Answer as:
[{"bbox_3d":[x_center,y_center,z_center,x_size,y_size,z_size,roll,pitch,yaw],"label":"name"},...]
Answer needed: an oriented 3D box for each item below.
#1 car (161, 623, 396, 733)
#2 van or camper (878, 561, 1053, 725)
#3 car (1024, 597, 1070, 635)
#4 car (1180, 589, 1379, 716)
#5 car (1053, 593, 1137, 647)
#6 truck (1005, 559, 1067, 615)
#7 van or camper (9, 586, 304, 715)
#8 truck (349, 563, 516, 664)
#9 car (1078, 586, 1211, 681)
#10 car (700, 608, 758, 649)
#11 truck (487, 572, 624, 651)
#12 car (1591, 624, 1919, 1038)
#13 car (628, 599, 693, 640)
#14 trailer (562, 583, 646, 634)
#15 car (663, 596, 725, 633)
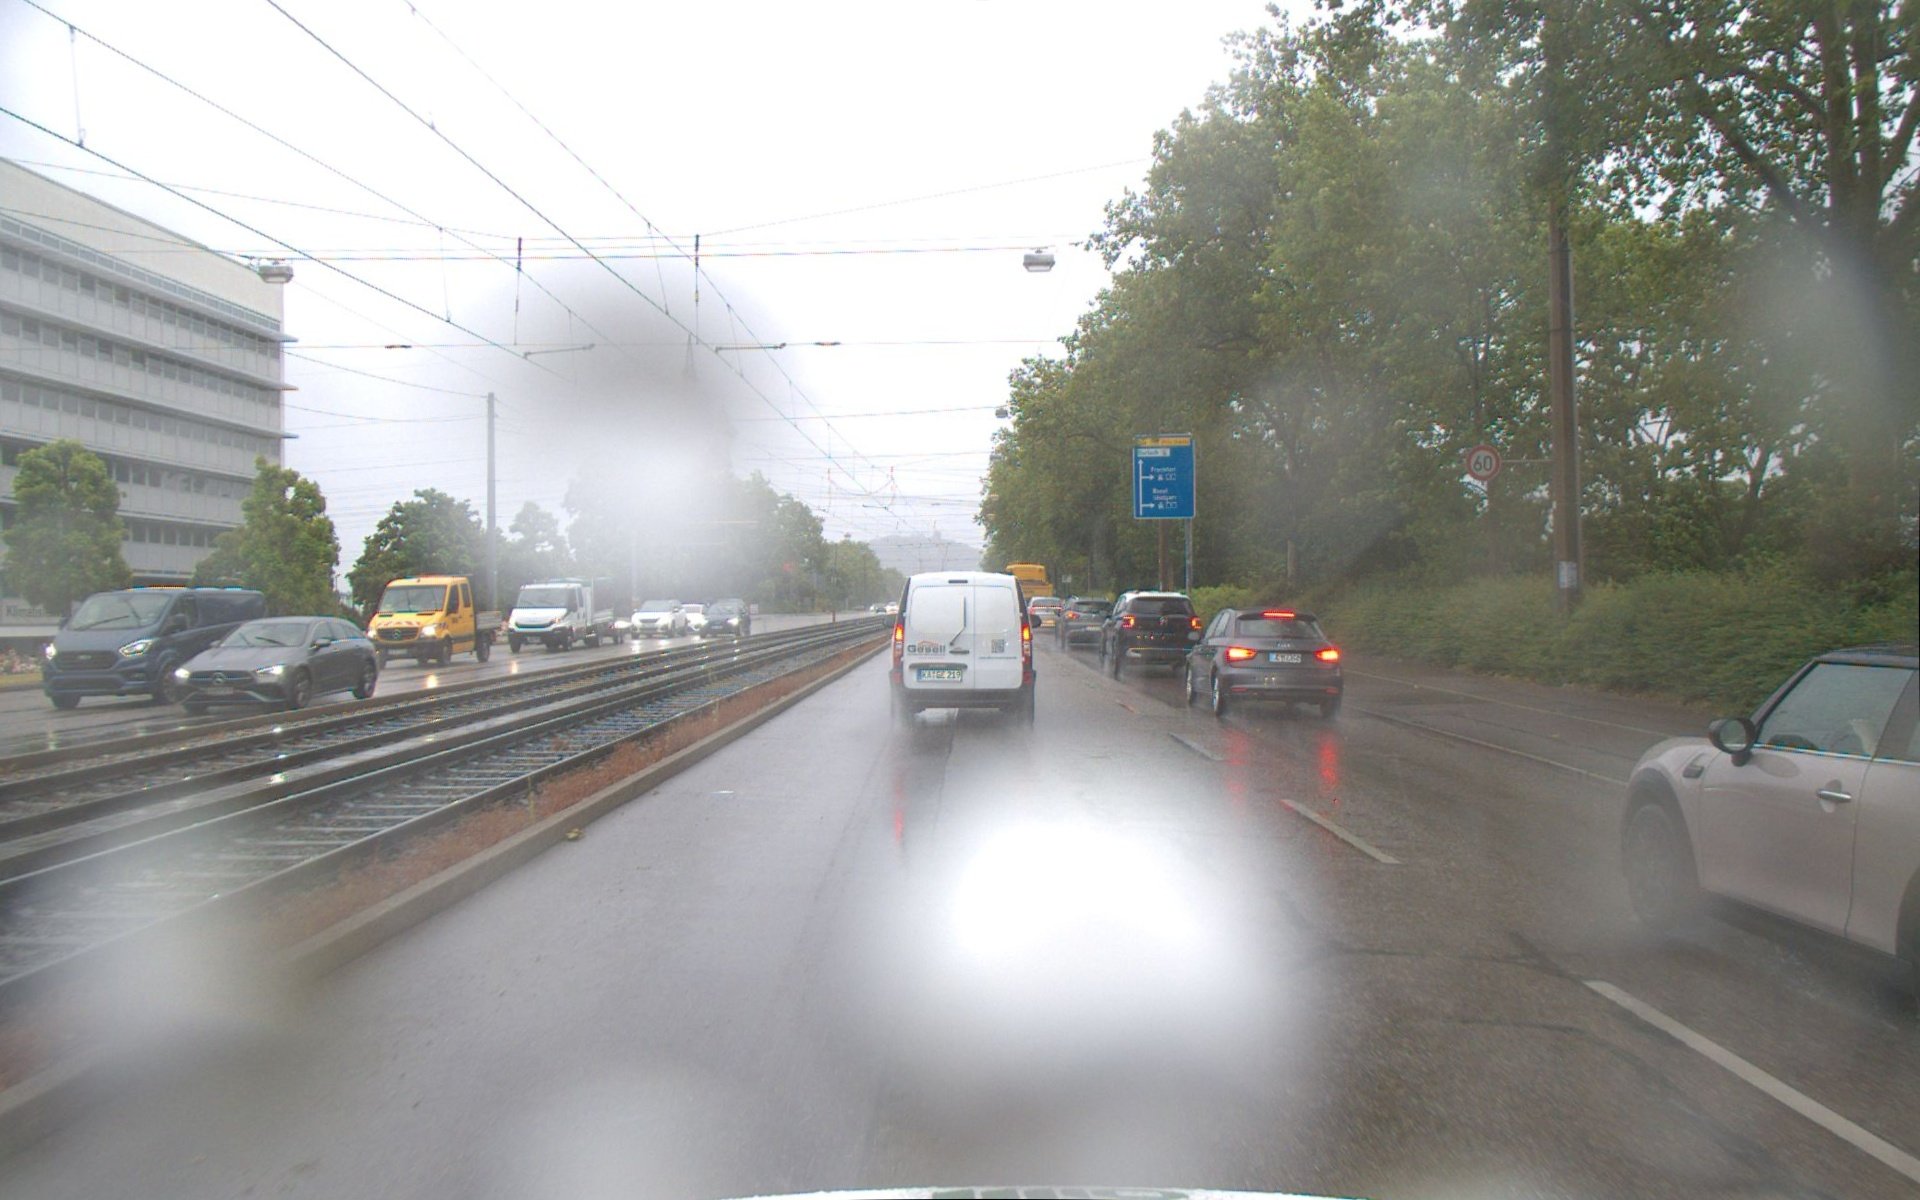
[{"bbox_3d":[-10.995,1.196,27.084,1.820,1.520,4.690,-2,0,1],"label":"car"},{"bbox_3d":[0.003,0.440,20.609,1.953,1.815,3.999,1,1,-2],"label":"van or camper"},{"bbox_3d":[3.521,0.620,67.526,1.780,1.438,3.779,0,1,1],"label":"car"},{"bbox_3d":[4.303,0.654,22.887,1.928,1.555,3.990,0,1,-1],"label":"car"},{"bbox_3d":[3.896,0.556,48.218,1.783,1.438,3.774,0,1,-6],"label":"car"},{"bbox_3d":[3.953,-0.693,87.814,3.049,2.821,6.329,0,0,0],"label":"truck"},{"bbox_3d":[-14.195,0.811,29.727,2.257,2.049,5.688,1,0,3],"label":"van or camper"},{"bbox_3d":[-14.159,0.322,44.858,2.180,2.505,6.070,1,0,4],"label":"truck"},{"bbox_3d":[3.676,0.614,33.729,1.862,1.746,4.722,0,1,-4],"label":"car"},{"bbox_3d":[-9.966,1.220,71.674,1.781,1.651,4.536,-1,0,1],"label":"car"},{"bbox_3d":[-13.674,0.355,56.484,2.384,2.500,7.223,1,0,4],"label":"truck"},{"bbox_3d":[4.248,0.859,6.784,1.755,1.438,3.853,2,-1,-1],"label":"car"},{"bbox_3d":[-13.081,0.822,72.410,1.734,1.712,4.691,1,0,3],"label":"car"},{"bbox_3d":[-13.291,0.302,61.972,2.075,1.824,3.838,1,0,3],"label":"trailer"},{"bbox_3d":[-12.913,0.673,80.519,1.952,1.611,4.768,-2,0,3],"label":"car"}]
